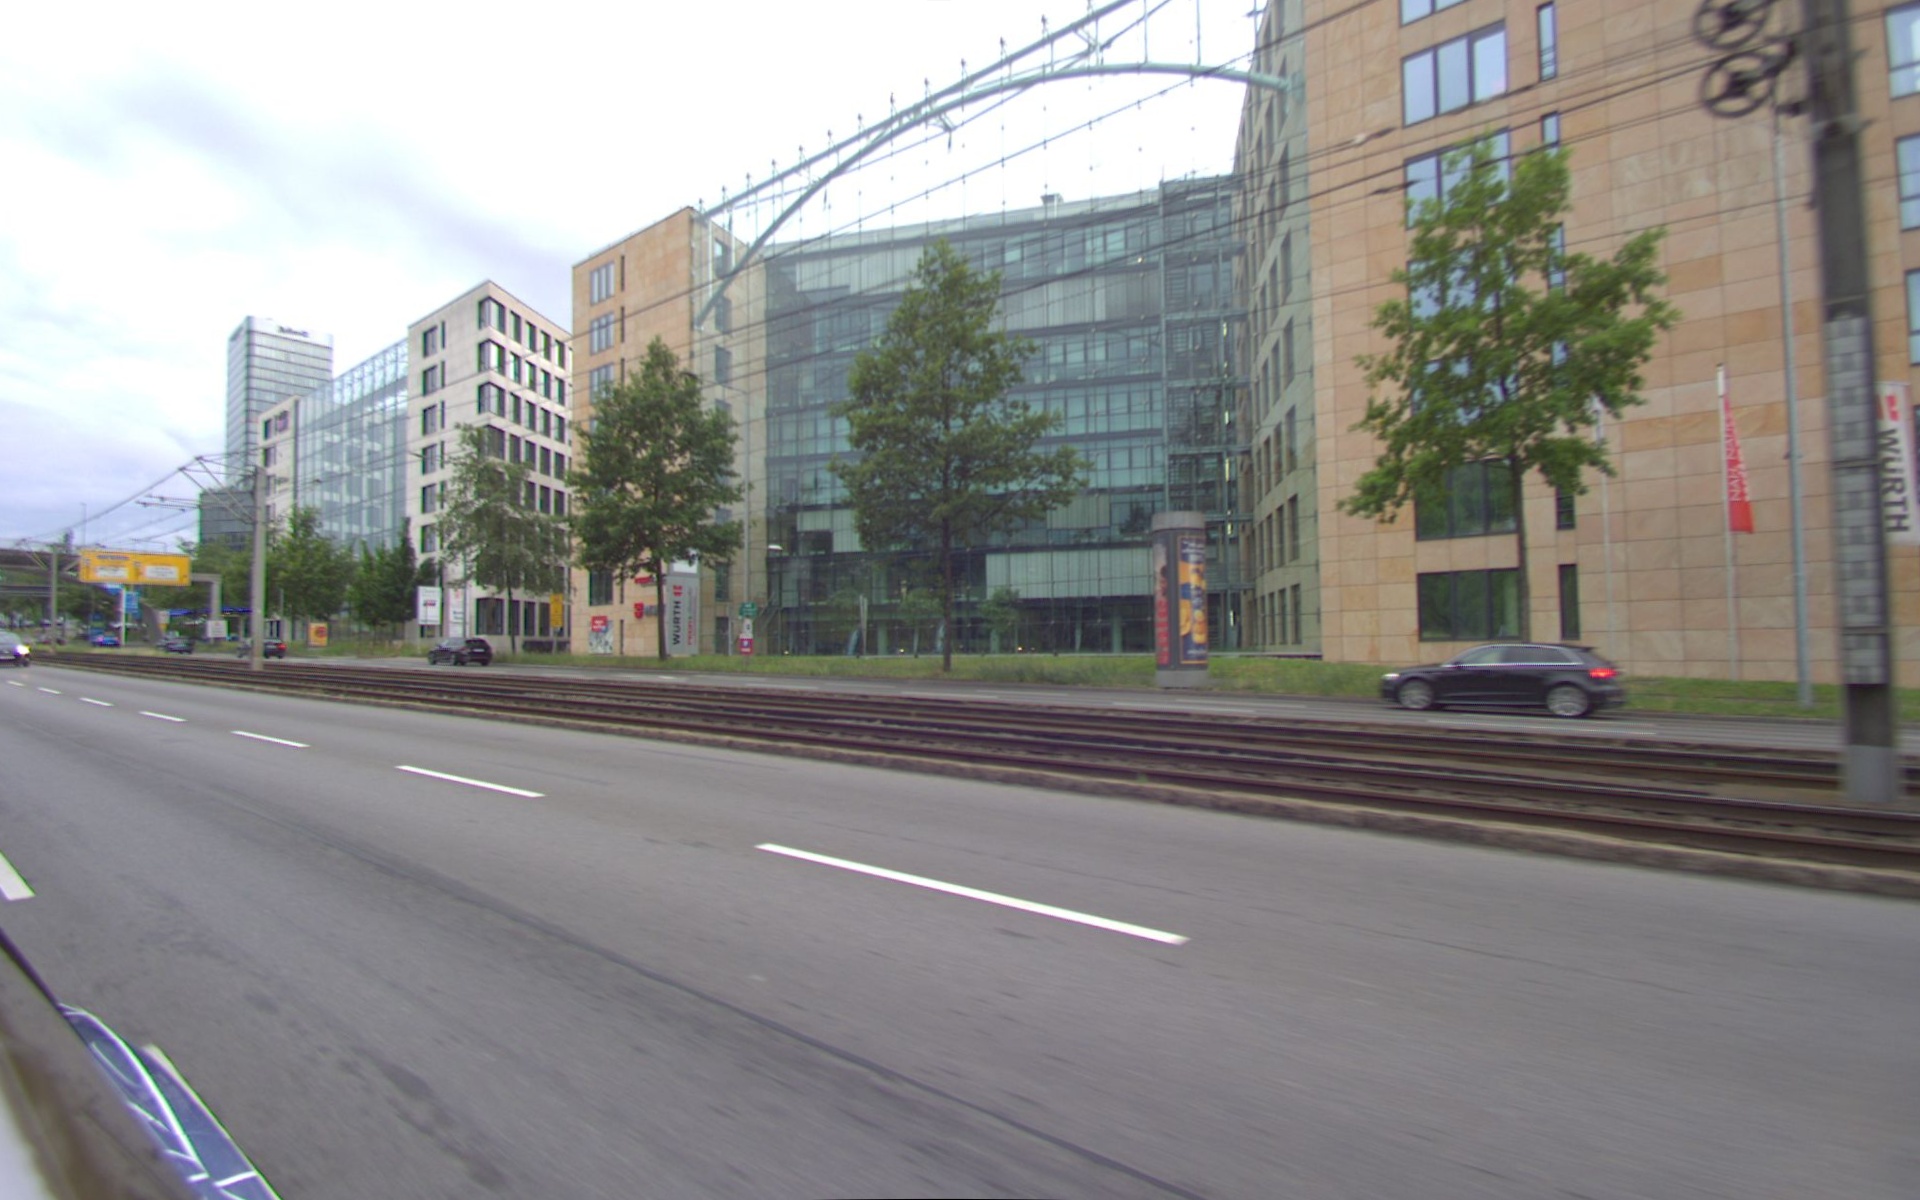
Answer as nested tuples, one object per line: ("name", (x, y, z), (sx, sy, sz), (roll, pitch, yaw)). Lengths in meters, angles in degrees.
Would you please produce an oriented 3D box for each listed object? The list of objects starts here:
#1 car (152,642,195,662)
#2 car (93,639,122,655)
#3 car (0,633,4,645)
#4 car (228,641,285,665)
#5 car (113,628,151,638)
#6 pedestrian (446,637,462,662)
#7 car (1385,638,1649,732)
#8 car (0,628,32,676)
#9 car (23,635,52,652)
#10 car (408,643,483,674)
("car", (-63.981, 4.227, 82.296), (4.651, 1.497, 1.822), (-2, -6, 41))
("car", (-92.422, 5.087, 109.713), (4.022, 1.465, 1.822), (0, 0, 41))
("car", (-133.662, 5.406, 139.897), (4.814, 1.545, 1.741), (-2, -1, 41))
("car", (-45.413, 3.425, 65.292), (4.651, 1.497, 1.822), (-2, -6, 41))
("car", (-129.166, 5.130, 157.910), (1.885, 1.515, 4.306), (0, 0, 42))
("pedestrian", (-34.713, 3.404, 69.435), (0.831, 1.644, 0.636), (0, 0, 38))
("car", (10.711, 1.560, 19.658), (4.238, 1.472, 1.649), (0, 0, 43))
("car", (-41.878, 2.233, 44.034), (4.376, 1.882, 1.771), (0, 0, 42))
("car", (-90.116, 4.231, 98.873), (4.200, 1.513, 1.753), (0, 0, 43))
("car", (-26.237, 2.985, 51.587), (4.427, 1.497, 1.822), (-2, -6, 41))
